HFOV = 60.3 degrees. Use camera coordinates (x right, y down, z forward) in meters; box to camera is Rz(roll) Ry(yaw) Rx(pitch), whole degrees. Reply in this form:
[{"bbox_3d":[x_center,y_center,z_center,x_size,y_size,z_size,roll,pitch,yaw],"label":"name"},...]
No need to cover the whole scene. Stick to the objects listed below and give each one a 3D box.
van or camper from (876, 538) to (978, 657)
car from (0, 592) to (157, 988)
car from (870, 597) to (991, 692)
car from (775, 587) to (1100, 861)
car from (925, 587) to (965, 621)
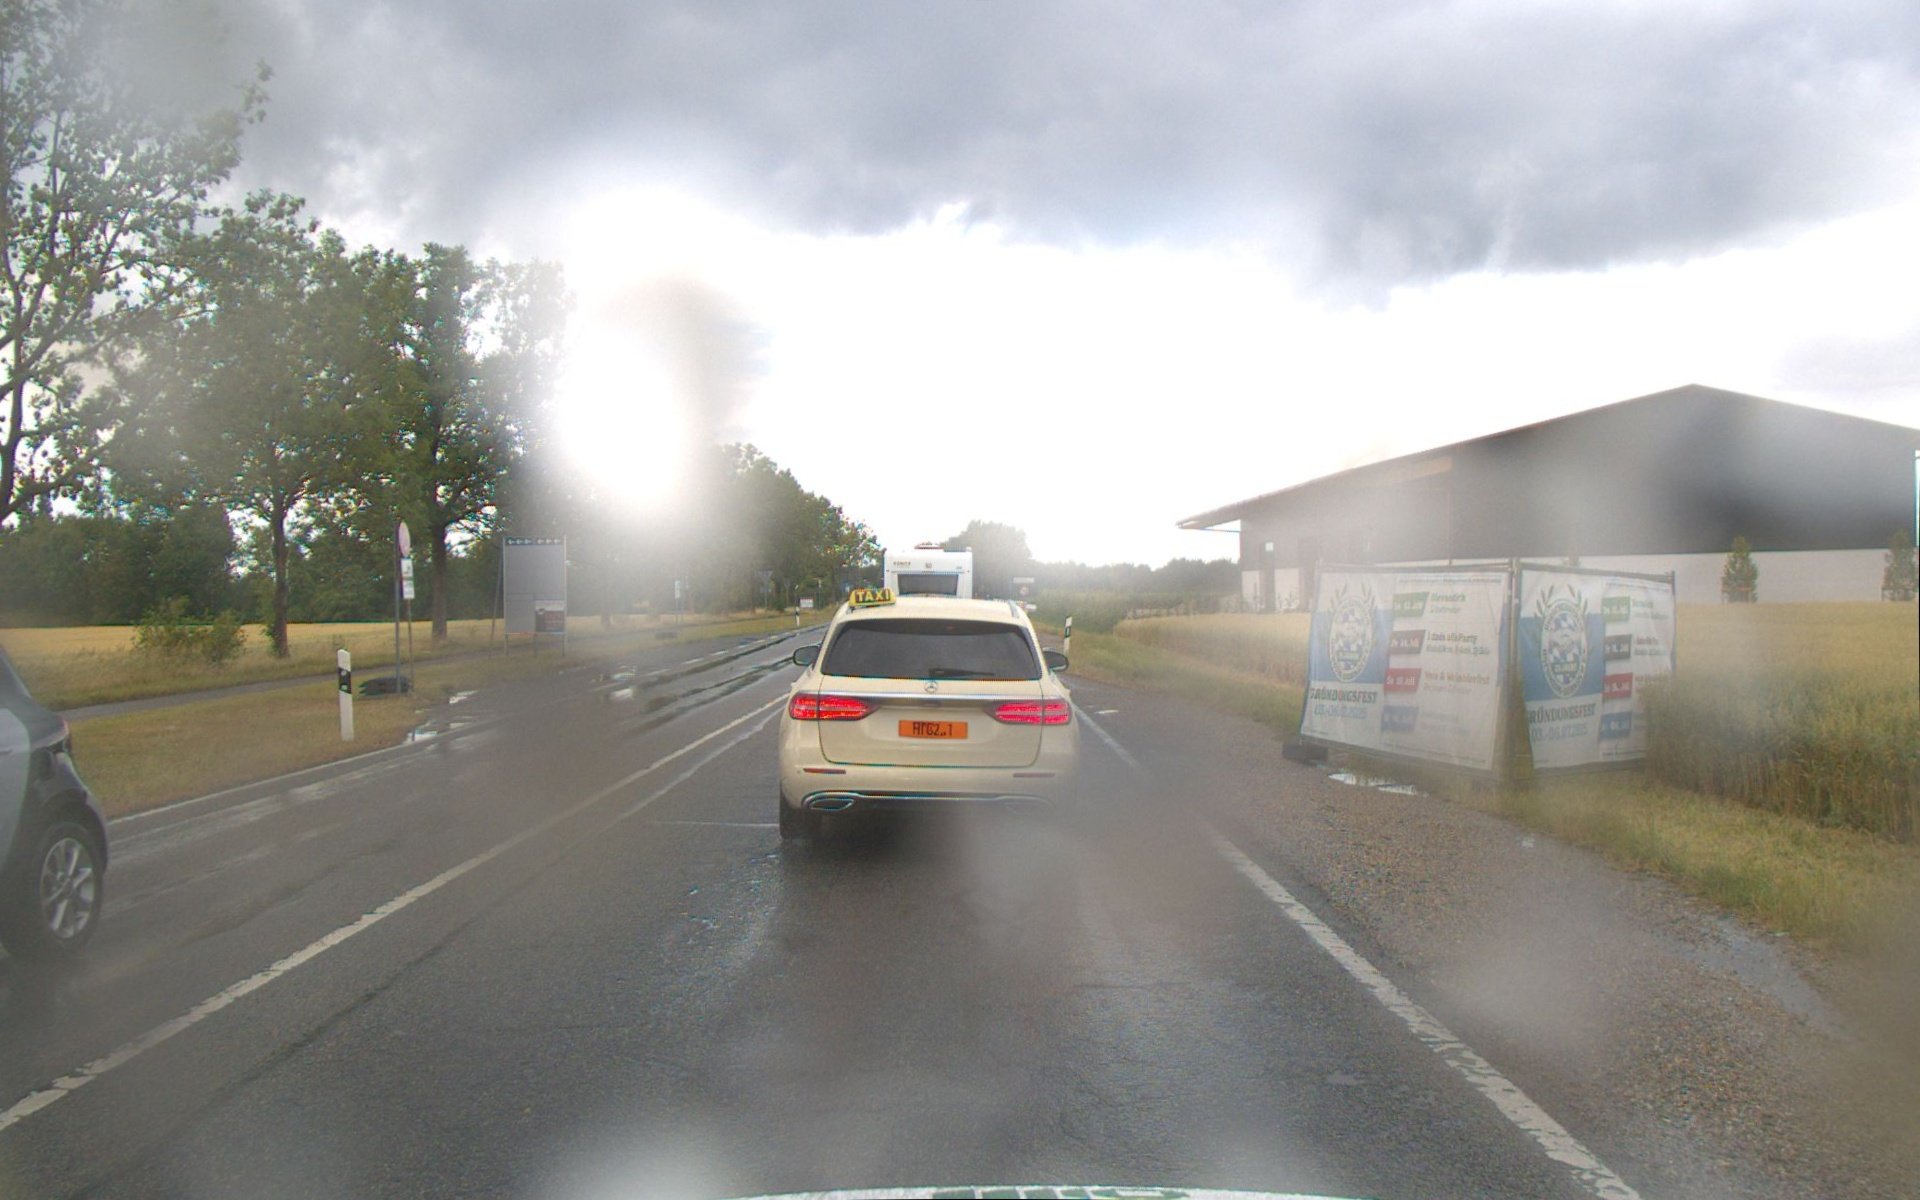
[{"bbox_3d":[-0.808,-0.072,43.935,2.446,2.880,5.934,-2,0,0],"label":"van or camper"},{"bbox_3d":[-4.545,0.786,5.737,1.642,1.524,3.734,-3,0,-1],"label":"car"},{"bbox_3d":[-0.489,0.681,27.498,1.856,1.454,3.927,0,0,-1],"label":"car"},{"bbox_3d":[-0.127,0.664,11.002,1.760,1.490,4.030,0,0,0],"label":"car"},{"bbox_3d":[-0.742,0.184,79.410,1.856,1.618,3.927,0,0,-1],"label":"car"}]
